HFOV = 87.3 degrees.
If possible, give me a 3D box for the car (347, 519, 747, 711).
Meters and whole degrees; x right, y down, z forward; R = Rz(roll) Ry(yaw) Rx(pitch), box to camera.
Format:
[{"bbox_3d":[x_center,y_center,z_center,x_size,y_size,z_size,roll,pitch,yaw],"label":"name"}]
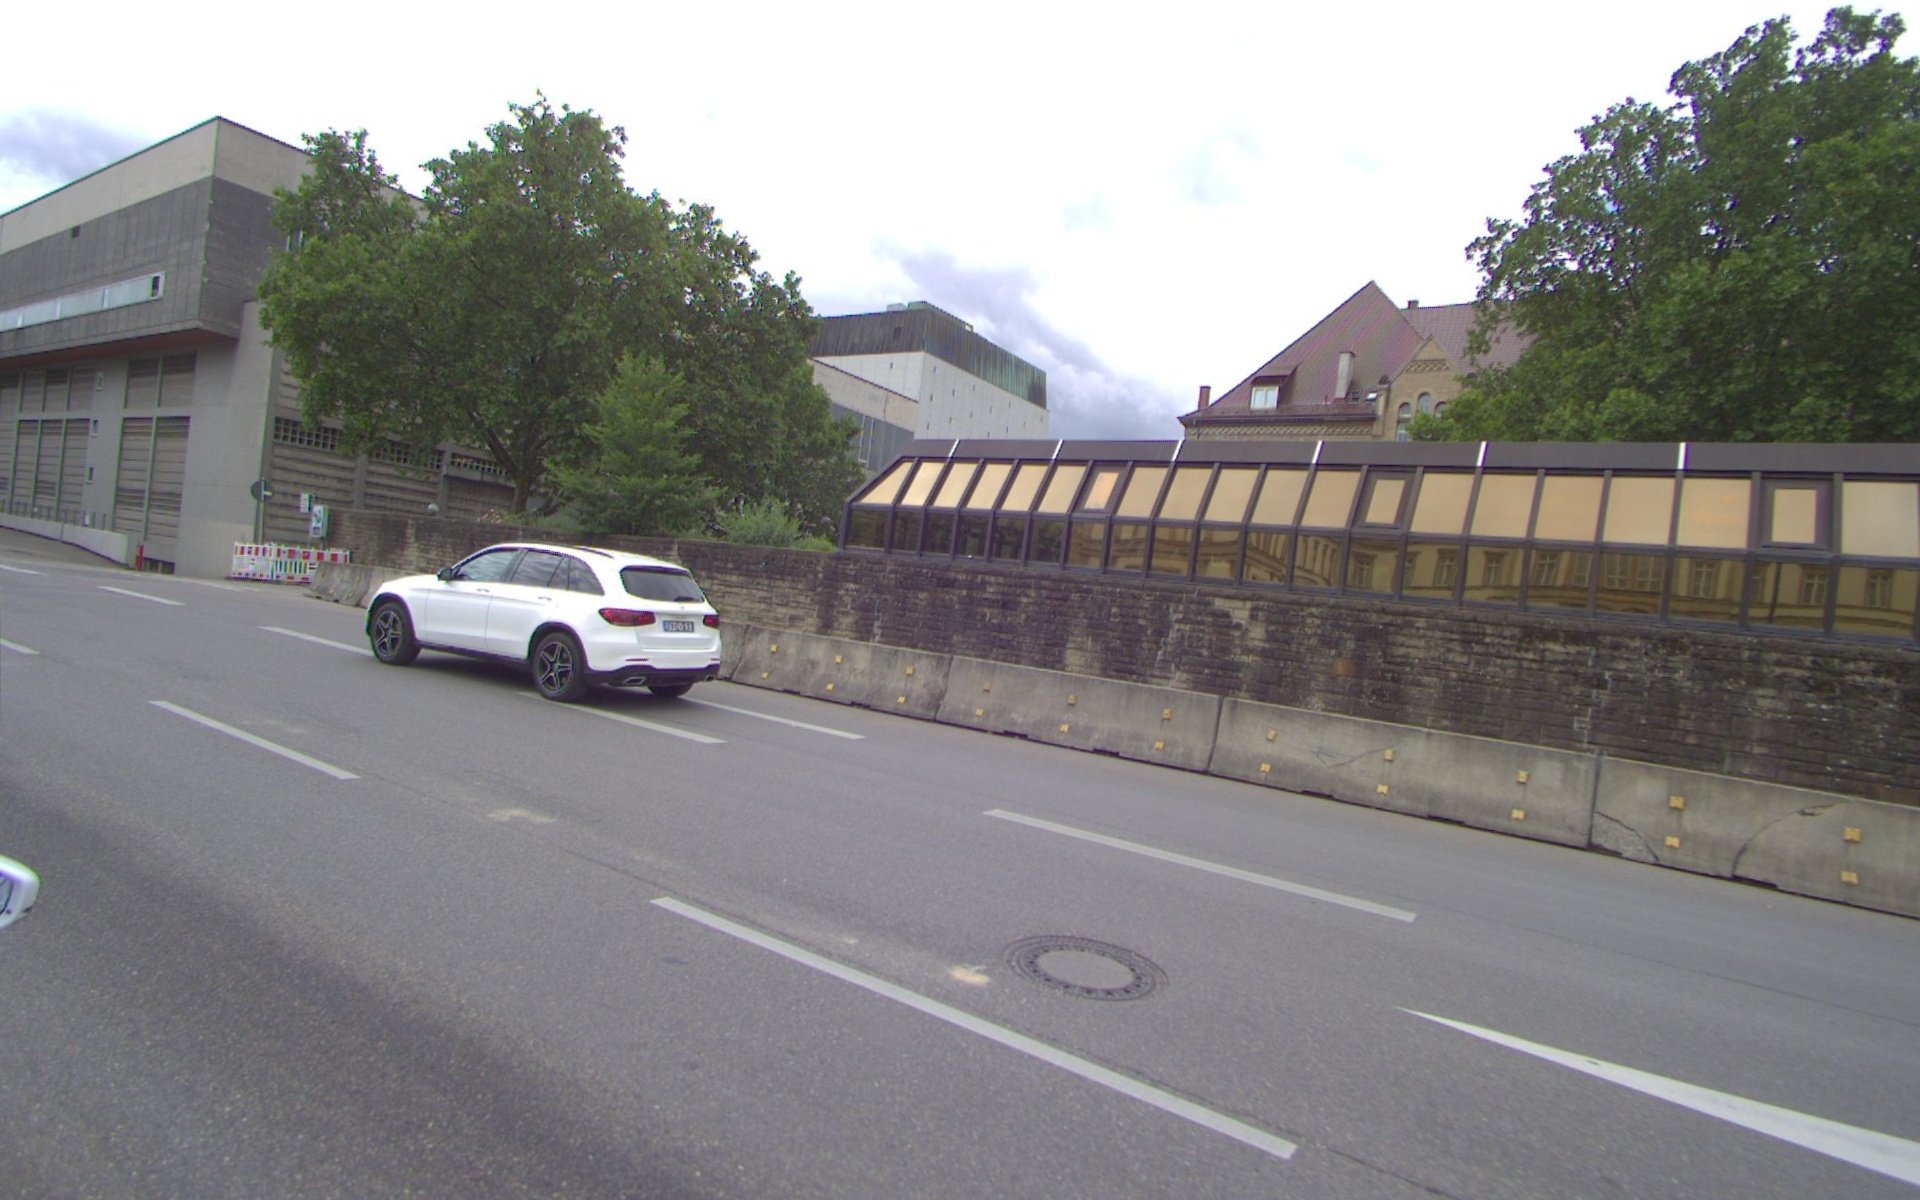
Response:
[{"bbox_3d":[-4.927,0.112,11.870,4.472,1.664,1.814,6,1,27],"label":"car"}]
